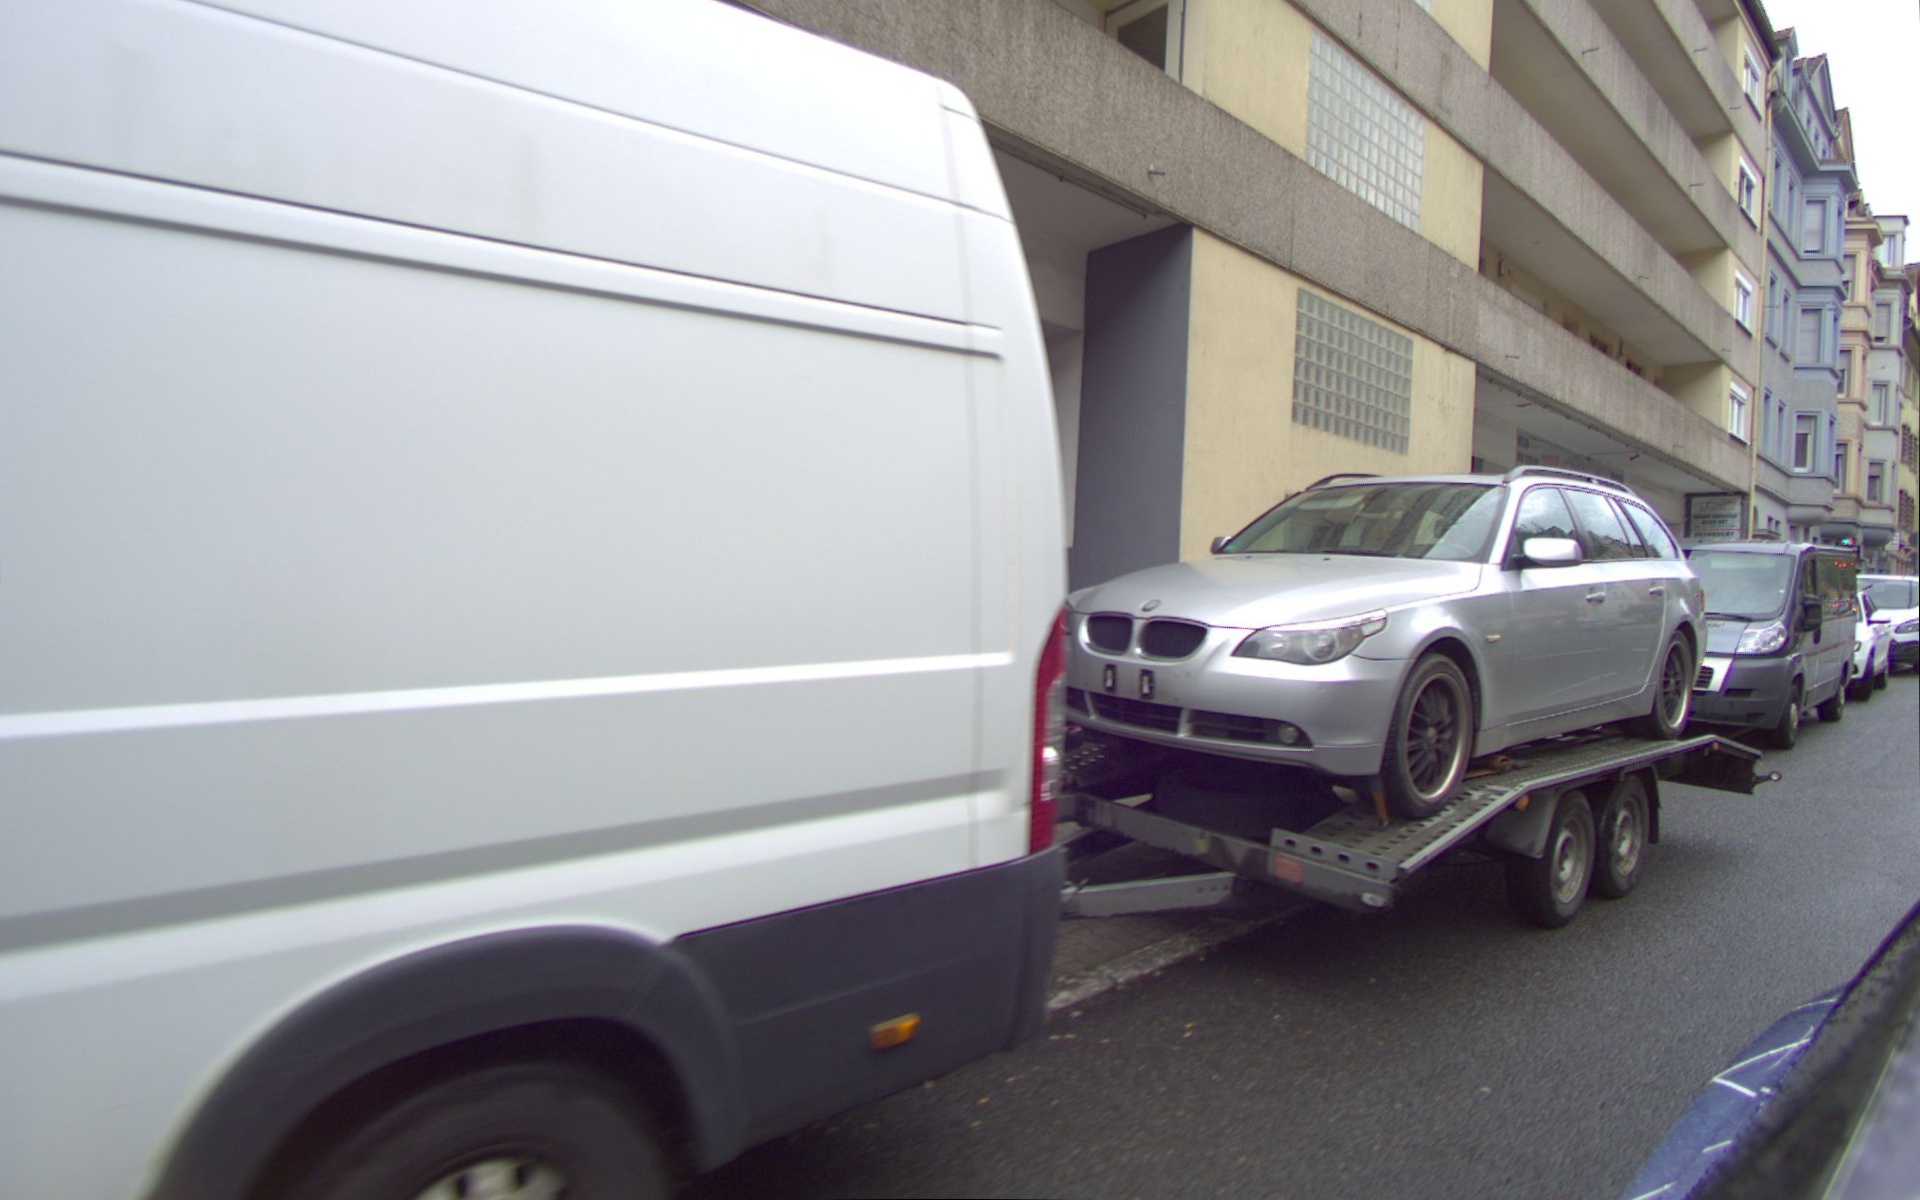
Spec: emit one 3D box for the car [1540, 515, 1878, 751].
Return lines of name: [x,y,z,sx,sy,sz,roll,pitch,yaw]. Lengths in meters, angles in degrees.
car: [9.000,0.221,11.933,5.417,2.175,2.157,-1,3,-43]

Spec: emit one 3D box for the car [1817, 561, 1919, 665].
car: [20.047,0.215,21.615,4.740,1.980,1.993,-1,3,-42]

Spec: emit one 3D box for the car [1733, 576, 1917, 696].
car: [14.160,0.474,16.485,4.201,1.660,1.749,-1,3,-43]

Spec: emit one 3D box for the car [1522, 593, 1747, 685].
car: [17.337,0.929,26.297,1.958,2.038,4.474,2,2,-23]

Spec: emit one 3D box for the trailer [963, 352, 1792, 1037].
trailer: [2.613,0.275,5.568,4.980,2.178,1.999,1,3,-39]

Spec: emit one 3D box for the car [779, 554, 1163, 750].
car: [-0.094,0.339,9.986,1.530,1.408,3.997,0,4,-40]

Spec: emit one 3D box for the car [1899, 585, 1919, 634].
car: [30.785,0.287,31.593,4.283,1.459,1.730,-1,3,-42]

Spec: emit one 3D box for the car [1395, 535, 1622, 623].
car: [11.594,-0.511,21.701,1.775,1.661,3.967,1,3,-23]

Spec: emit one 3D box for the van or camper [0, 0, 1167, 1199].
van or camper: [-2.737,0.028,1.430,6.298,2.733,2.192,0,2,-36]

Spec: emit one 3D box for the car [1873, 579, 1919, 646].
car: [25.547,0.327,26.623,4.237,1.616,1.731,-1,5,-42]
